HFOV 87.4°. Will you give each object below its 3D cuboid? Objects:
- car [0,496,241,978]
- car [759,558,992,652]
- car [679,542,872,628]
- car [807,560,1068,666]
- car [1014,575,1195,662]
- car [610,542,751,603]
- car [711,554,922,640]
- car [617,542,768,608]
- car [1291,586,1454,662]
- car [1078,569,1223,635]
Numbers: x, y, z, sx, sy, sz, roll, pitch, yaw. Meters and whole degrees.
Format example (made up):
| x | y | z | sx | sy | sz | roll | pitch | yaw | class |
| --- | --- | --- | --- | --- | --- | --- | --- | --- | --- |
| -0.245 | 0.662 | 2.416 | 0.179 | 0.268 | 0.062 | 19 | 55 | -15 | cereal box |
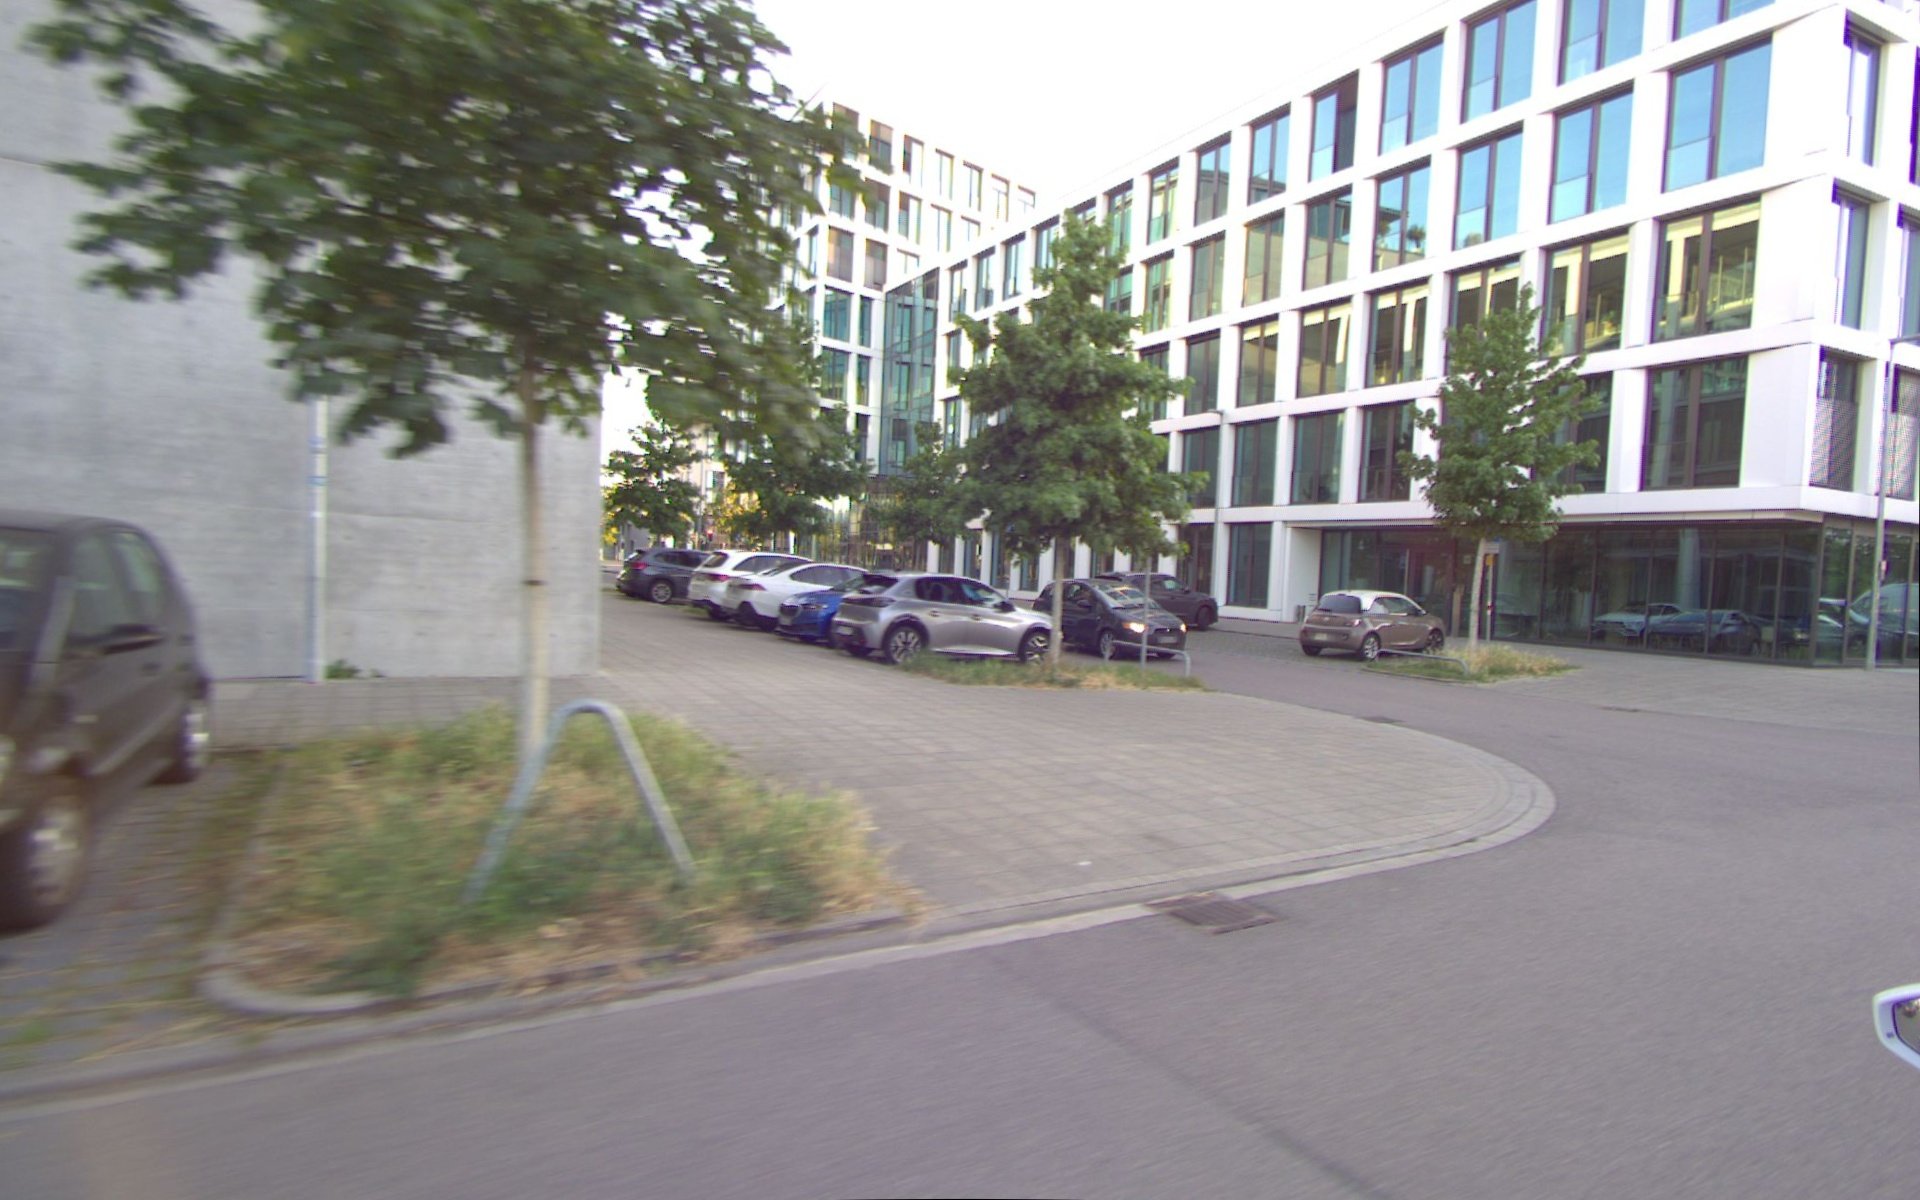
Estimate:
| x | y | z | sx | sy | sz | roll | pitch | yaw | class |
| --- | --- | --- | --- | --- | --- | --- | --- | --- | --- |
| -4.690 | 0.324 | 4.630 | 1.639 | 1.598 | 3.621 | 2 | 4 | -26 | car |
| -1.530 | 0.110 | 18.650 | 3.891 | 1.506 | 1.770 | 3 | 1 | -33 | car |
| -4.159 | -0.321 | 22.805 | 3.891 | 1.668 | 1.770 | 3 | 1 | -33 | car |
| -0.334 | 0.235 | 16.532 | 3.891 | 1.506 | 1.770 | 3 | 1 | -33 | car |
| 2.918 | 0.321 | 20.966 | 1.748 | 1.566 | 3.731 | 0 | 2 | -32 | car |
| -8.789 | -0.851 | 31.669 | 3.891 | 1.668 | 1.770 | 3 | 1 | -33 | car |
| -2.924 | -0.048 | 20.724 | 3.891 | 1.506 | 1.770 | 3 | 1 | -33 | car |
| -7.821 | -0.721 | 29.462 | 3.891 | 1.668 | 1.770 | 3 | 1 | -33 | car |
| 9.374 | 0.484 | 22.794 | 3.511 | 1.506 | 1.712 | -2 | 3 | -32 | car |
| 5.512 | -0.002 | 28.959 | 4.013 | 1.740 | 1.712 | -2 | 3 | -32 | car |
